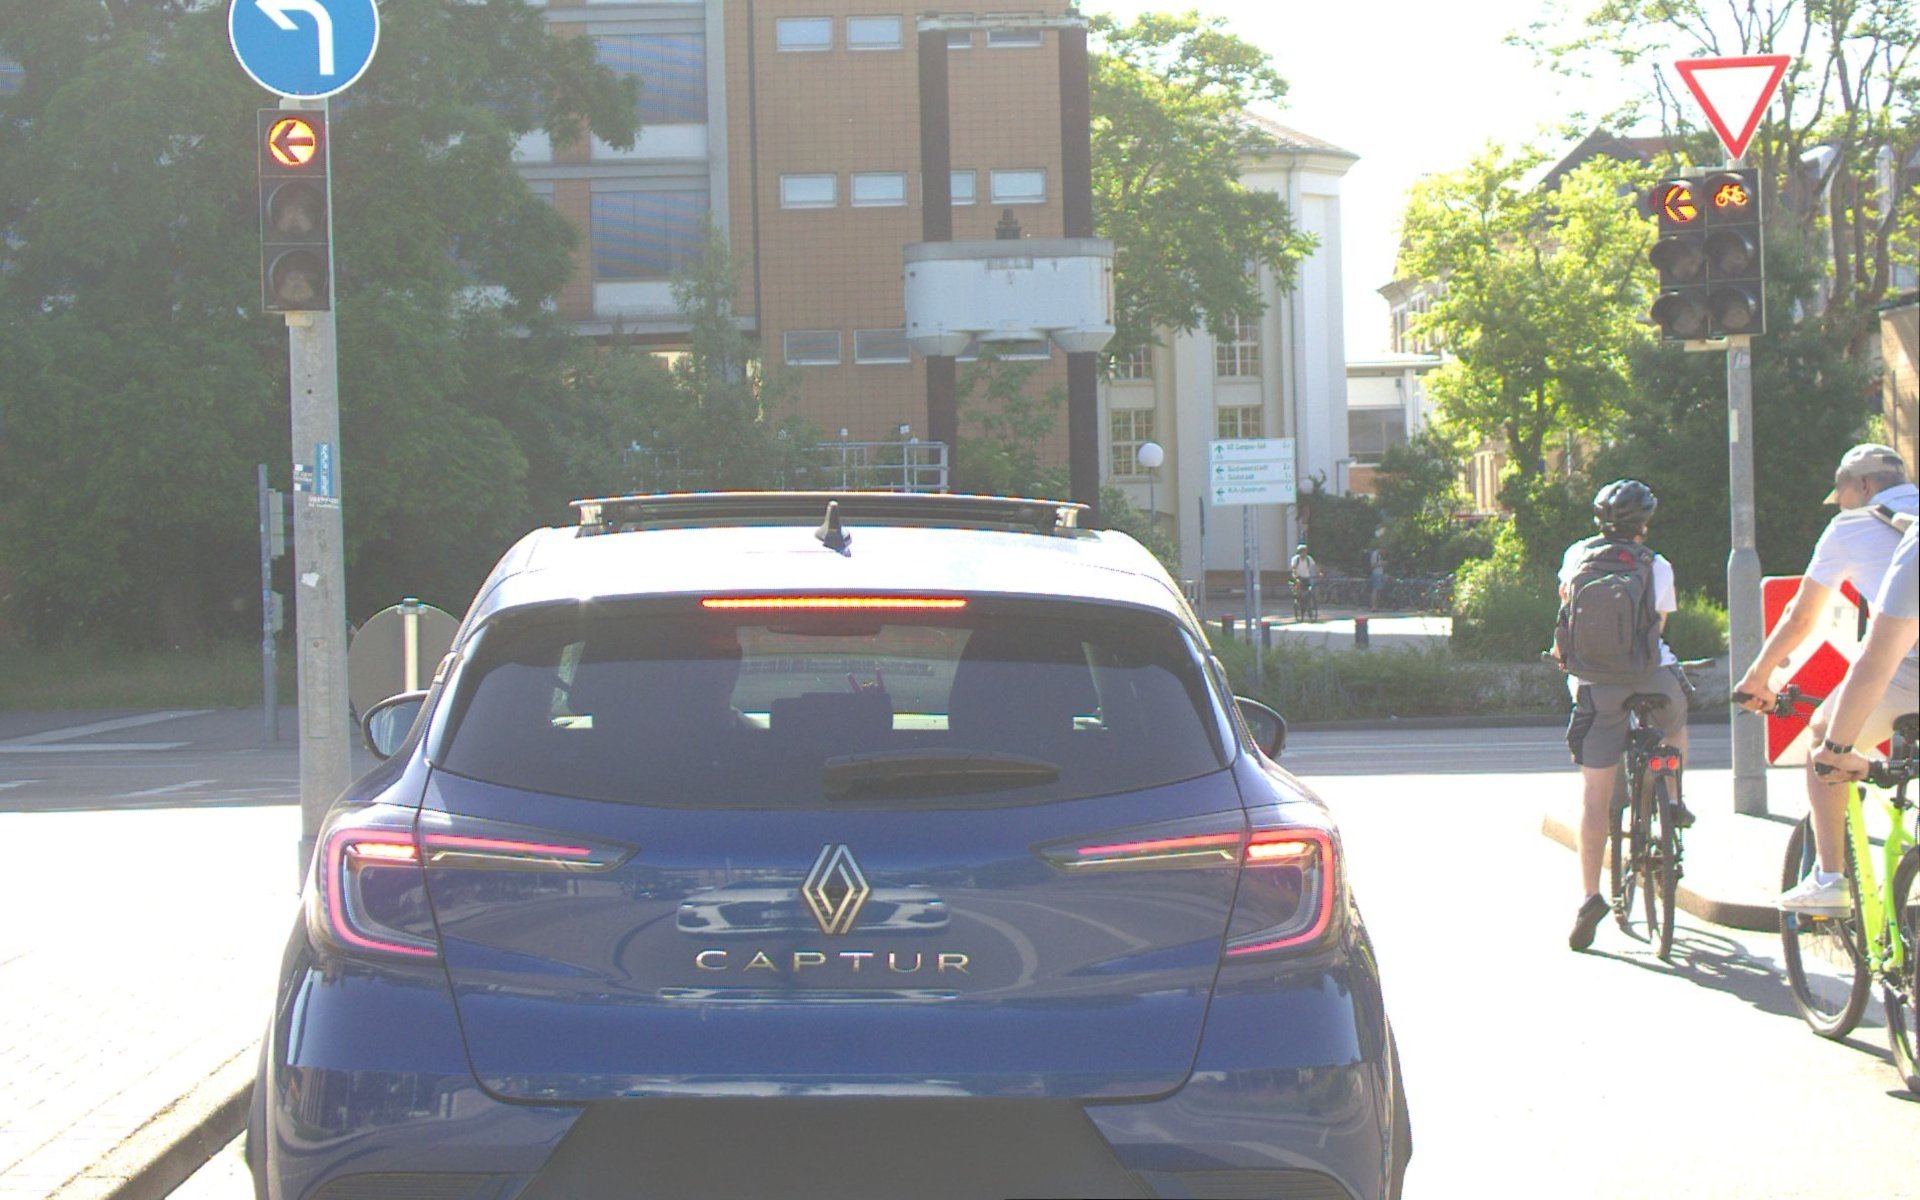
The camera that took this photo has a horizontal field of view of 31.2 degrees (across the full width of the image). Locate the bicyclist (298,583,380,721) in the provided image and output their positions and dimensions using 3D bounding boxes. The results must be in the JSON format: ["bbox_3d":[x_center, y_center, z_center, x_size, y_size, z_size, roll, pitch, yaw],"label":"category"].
[{"bbox_3d":[-7.903,0.652,43.804,0.755,1.710,0.998,-1,1,5],"label":"bicyclist"}]

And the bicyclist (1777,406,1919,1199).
[{"bbox_3d":[2.236,0.501,7.369,0.683,1.785,1.142,0,1,-1],"label":"bicyclist"}]

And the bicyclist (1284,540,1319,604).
[{"bbox_3d":[7.959,-0.649,80.191,0.694,1.476,0.717,-1,1,-1],"label":"bicyclist"}]

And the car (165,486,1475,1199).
[{"bbox_3d":[-0.268,0.612,6.657,1.788,1.580,3.915,0,1,-2],"label":"car"}]

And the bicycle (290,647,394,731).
[{"bbox_3d":[-7.882,1.122,43.914,0.755,0.981,2.093,-1,1,5],"label":"bicycle"}]

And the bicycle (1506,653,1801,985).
[{"bbox_3d":[2.541,0.769,12.795,0.689,1.085,1.922,0,1,-1],"label":"bicycle"}]

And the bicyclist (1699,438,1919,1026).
[{"bbox_3d":[2.589,0.350,9.872,0.678,1.589,1.142,0,1,-1],"label":"bicyclist"}]

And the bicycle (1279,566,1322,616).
[{"bbox_3d":[7.963,-0.225,80.419,0.694,1.136,2.441,-1,1,-1],"label":"bicycle"}]

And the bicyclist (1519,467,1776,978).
[{"bbox_3d":[2.496,0.420,12.582,0.699,1.785,1.142,0,1,-1],"label":"bicyclist"}]

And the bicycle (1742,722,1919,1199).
[{"bbox_3d":[2.236,0.847,7.307,0.689,1.085,1.922,0,1,-1],"label":"bicycle"}]

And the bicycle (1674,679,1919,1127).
[{"bbox_3d":[2.593,0.802,9.806,0.689,1.085,1.922,0,1,-1],"label":"bicycle"}]
